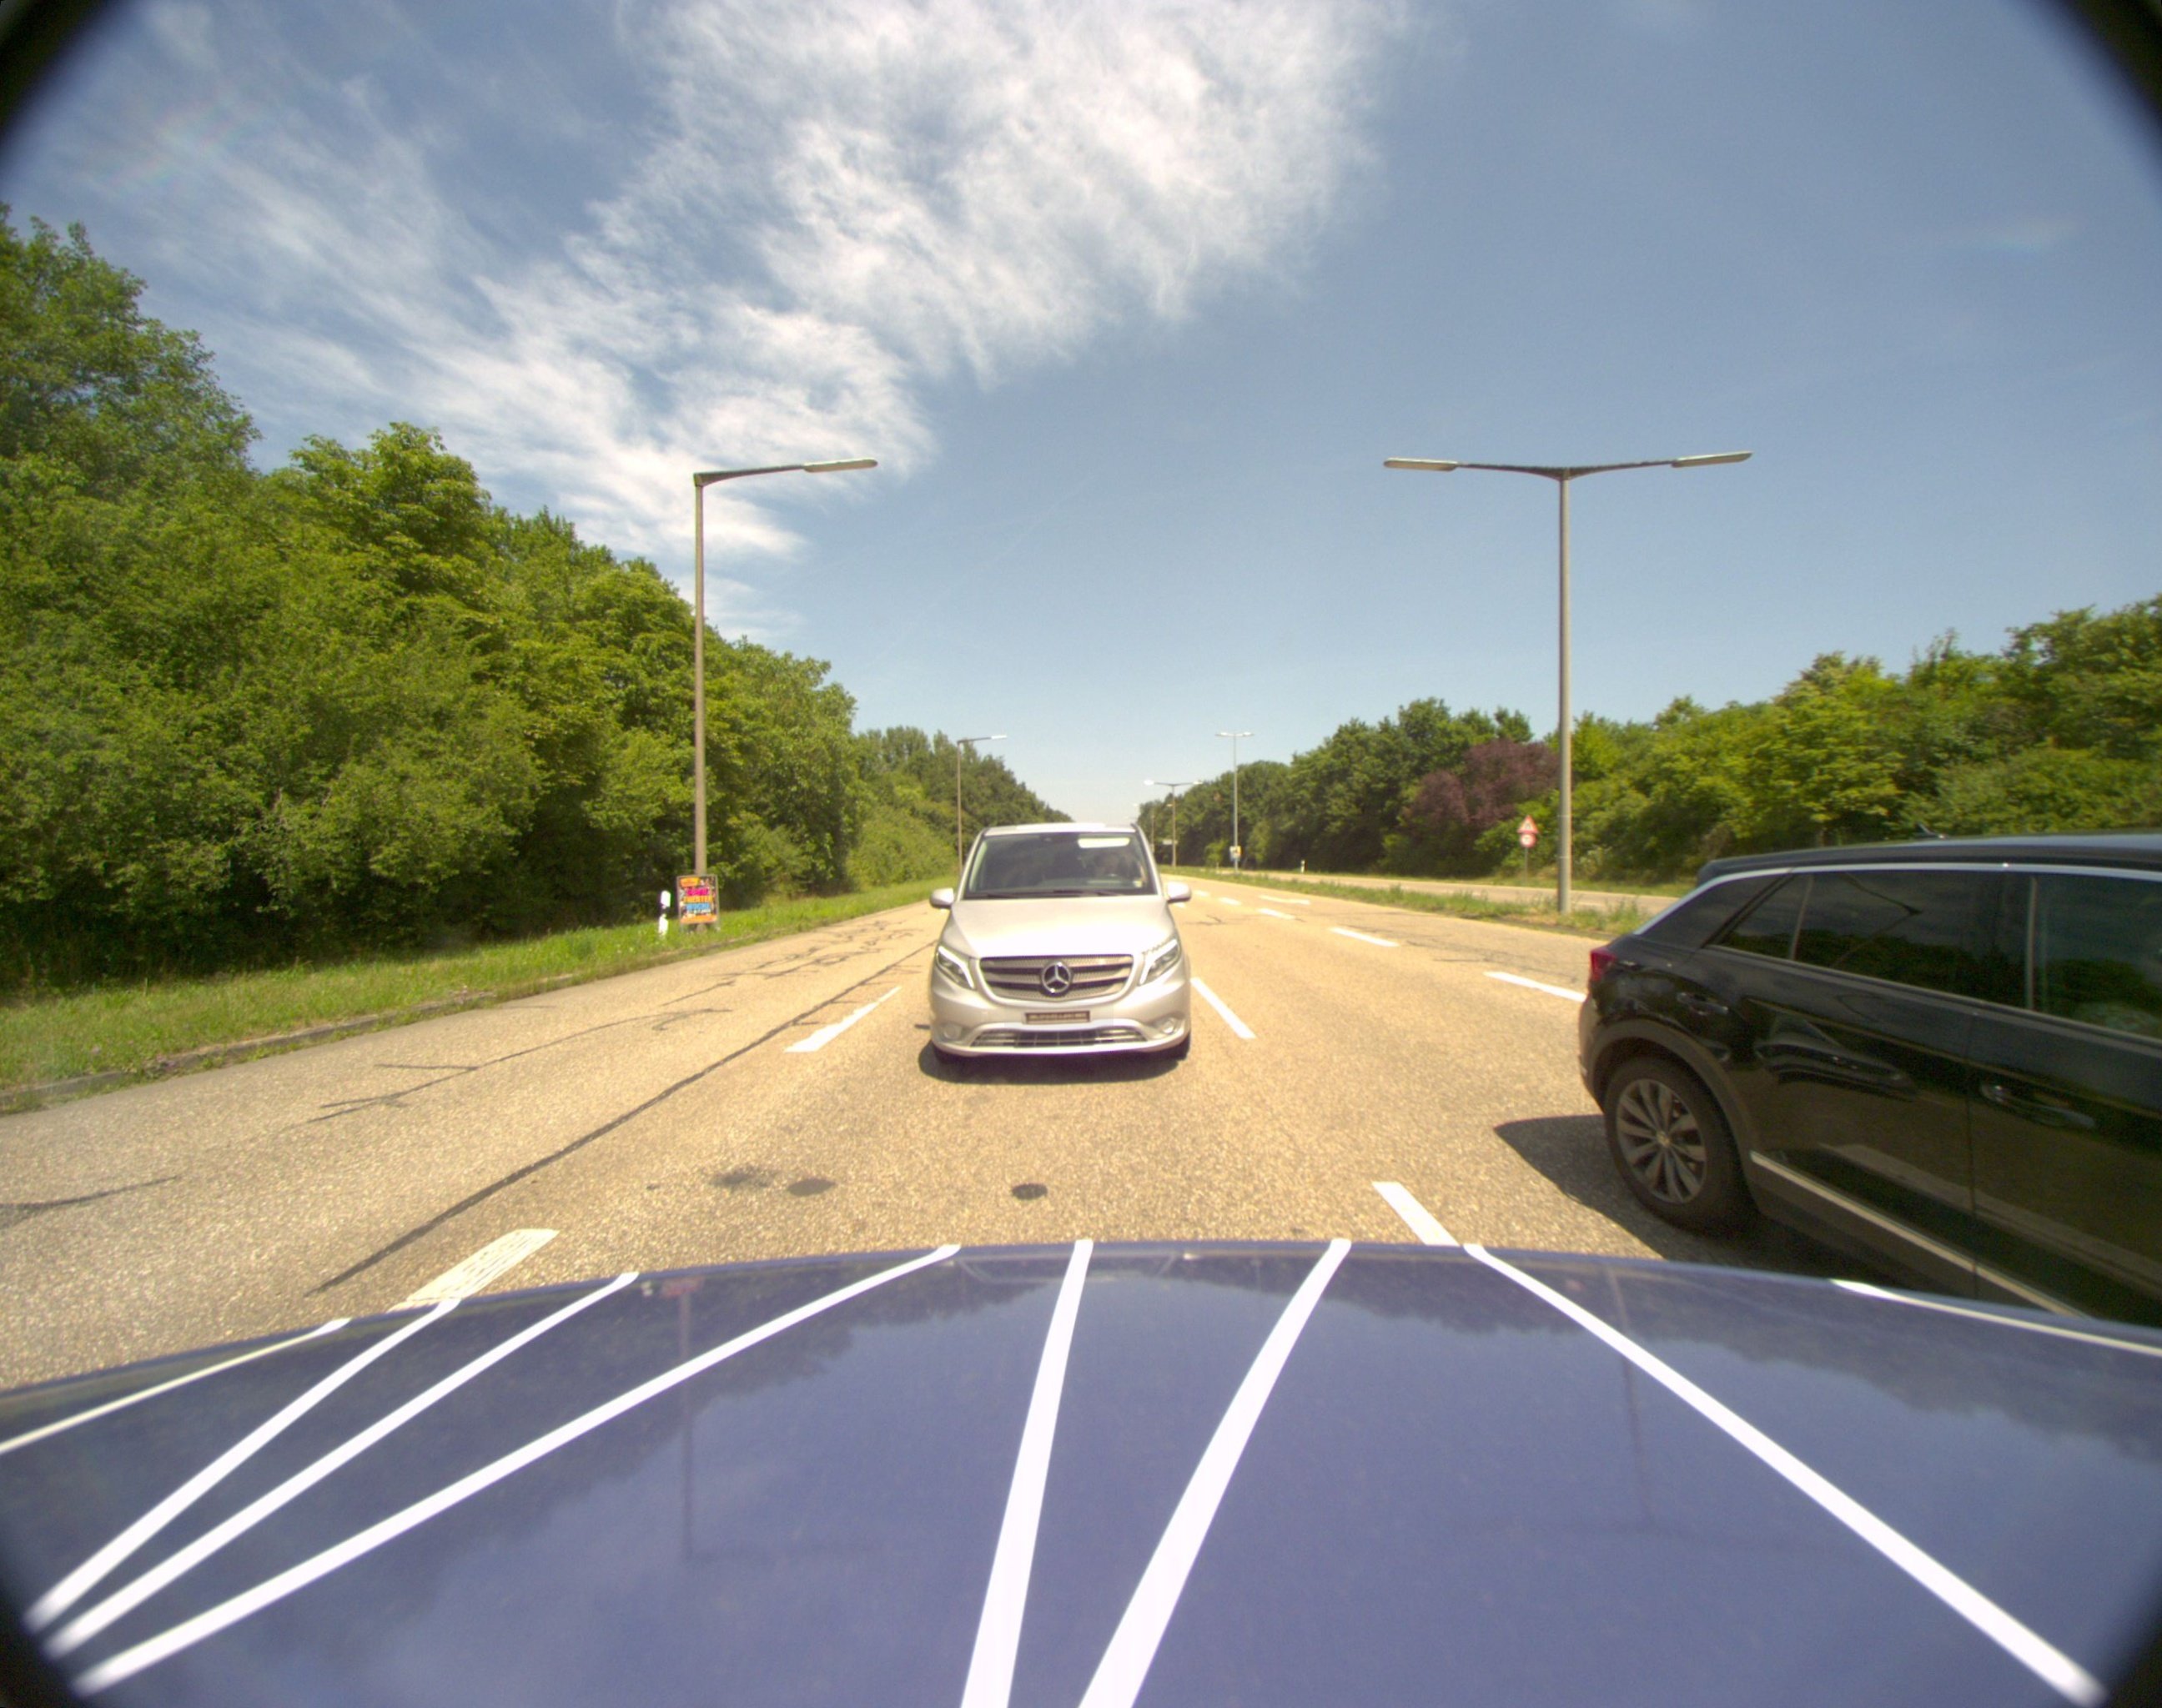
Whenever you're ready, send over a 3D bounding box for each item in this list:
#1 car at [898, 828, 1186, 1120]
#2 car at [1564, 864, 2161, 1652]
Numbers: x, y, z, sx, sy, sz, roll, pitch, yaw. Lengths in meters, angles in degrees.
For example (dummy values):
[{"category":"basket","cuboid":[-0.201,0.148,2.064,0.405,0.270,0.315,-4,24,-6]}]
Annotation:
[{"category":"car","cuboid":[-0.216,0.758,7.241,1.764,1.794,4.855,-2,0,1]},{"category":"car","cuboid":[3.052,0.851,1.456,1.739,1.503,3.970,-2,1,1]}]
